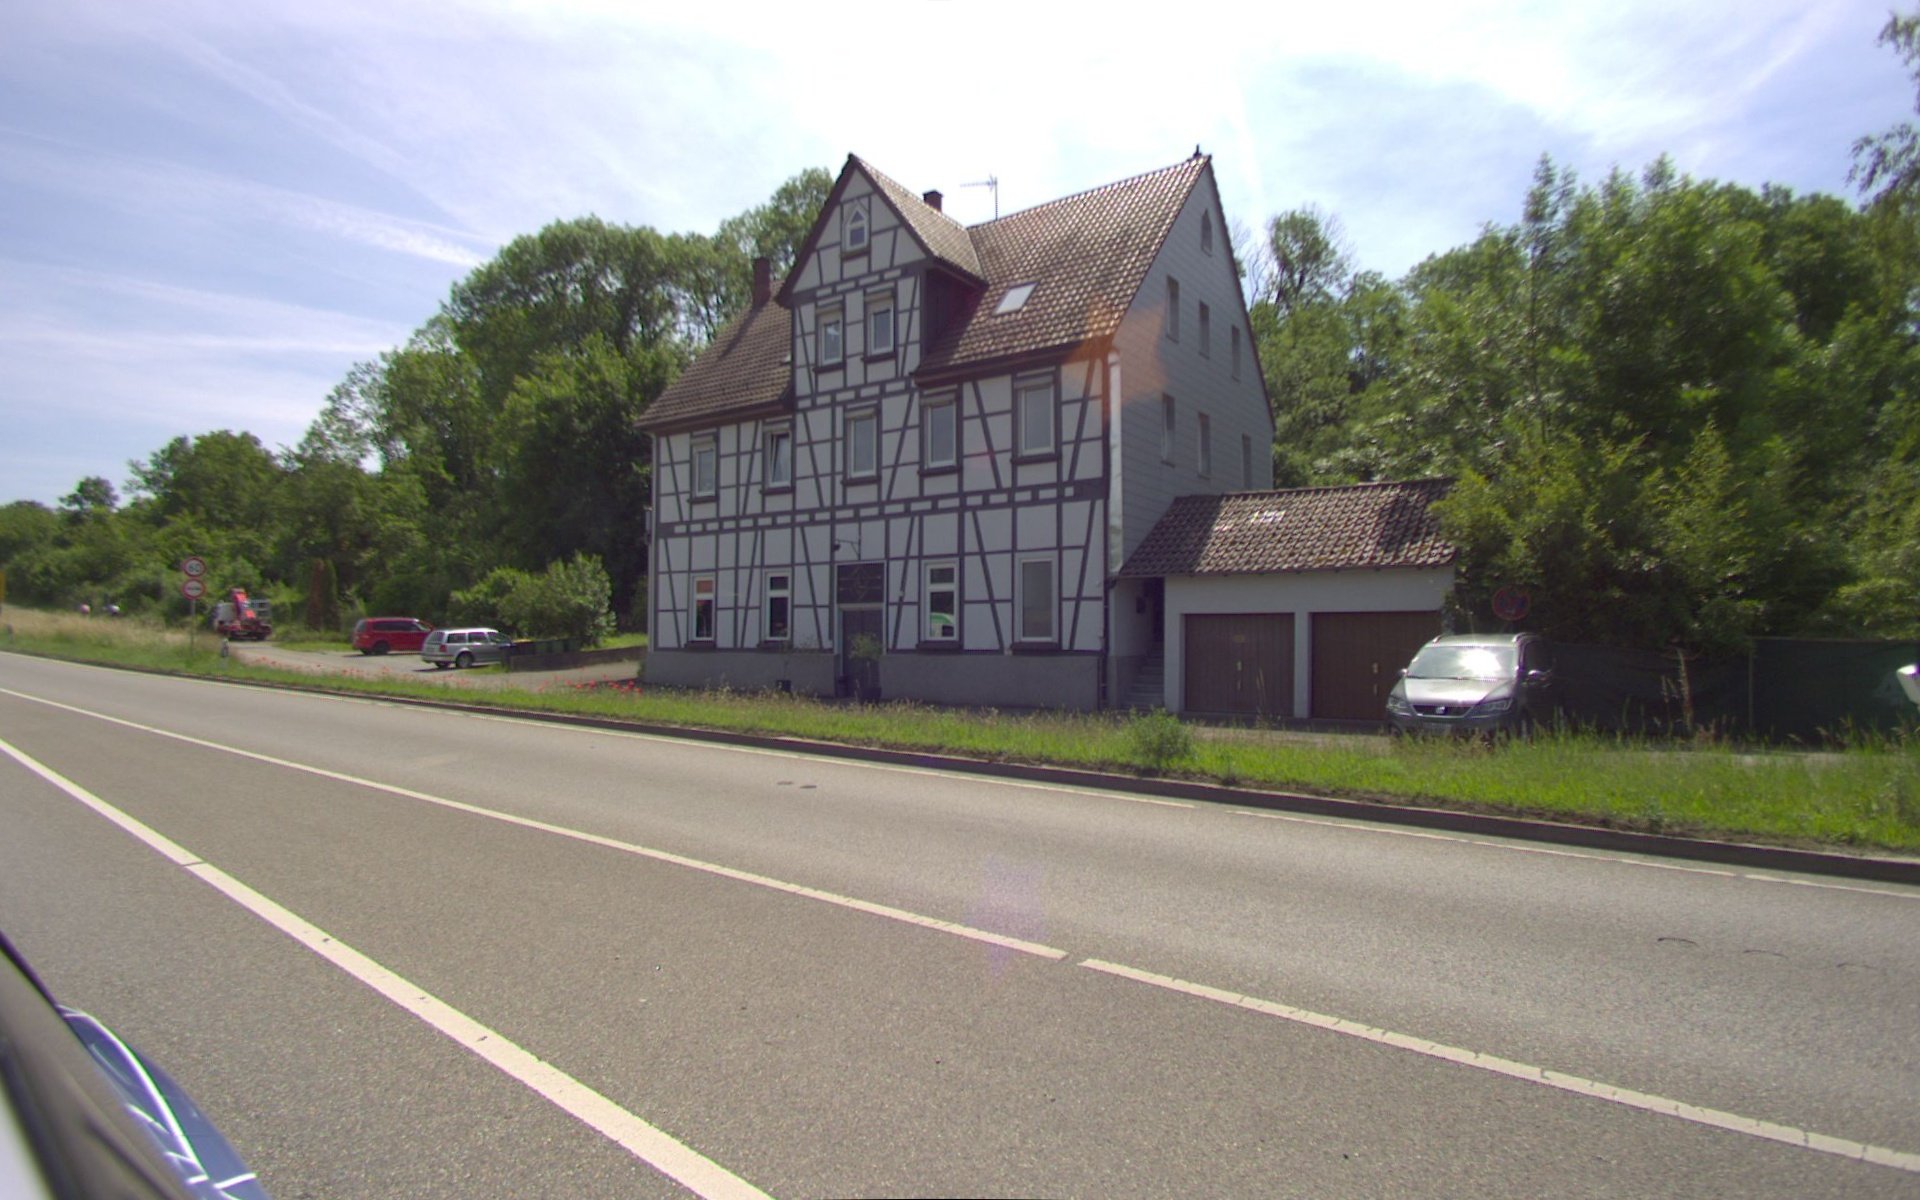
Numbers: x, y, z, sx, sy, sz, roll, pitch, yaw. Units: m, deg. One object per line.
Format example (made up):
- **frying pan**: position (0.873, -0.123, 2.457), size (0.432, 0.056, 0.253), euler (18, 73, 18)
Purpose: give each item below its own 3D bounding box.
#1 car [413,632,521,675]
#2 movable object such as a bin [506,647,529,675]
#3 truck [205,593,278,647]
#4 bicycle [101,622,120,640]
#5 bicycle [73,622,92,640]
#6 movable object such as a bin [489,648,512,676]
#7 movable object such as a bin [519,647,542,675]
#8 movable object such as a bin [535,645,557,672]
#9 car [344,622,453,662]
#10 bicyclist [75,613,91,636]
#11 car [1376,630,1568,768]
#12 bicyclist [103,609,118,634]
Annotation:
- **car**: position (-18.686, 2.006, 38.462), size (1.606, 1.476, 3.348), euler (-1, -1, 34)
- **movable object such as a bin**: position (-16.297, 2.231, 37.286), size (0.653, 0.977, 0.499), euler (0, 0, 33)
- **truck**: position (-41.931, 1.146, 58.967), size (6.771, 2.986, 2.005), euler (0, 0, 42)
- **bicycle**: position (-59.246, 2.152, 70.576), size (2.105, 1.189, 0.740), euler (0, 0, 43)
- **bicycle**: position (-62.588, 2.178, 72.193), size (2.104, 1.221, 0.741), euler (0, 0, 41)
- **movable object such as a bin**: position (-16.726, 2.249, 36.836), size (0.653, 0.943, 0.499), euler (0, 0, 33)
- **movable object such as a bin**: position (-16.043, 2.266, 37.799), size (0.653, 0.978, 0.499), euler (0, 0, 33)
- **movable object such as a bin**: position (-15.679, 2.221, 38.309), size (0.653, 0.984, 0.499), euler (0, 0, 33)
- **car**: position (-25.428, 1.866, 45.924), size (1.832, 1.631, 3.985), euler (-1, -1, 41)
- **bicyclist**: position (-62.583, 1.743, 72.182), size (0.935, 1.607, 0.740), euler (-1, 0, 41)
- **car**: position (8.019, 1.392, 15.610), size (1.858, 1.733, 4.621), euler (-4, -3, 36)
- **bicyclist**: position (-59.250, 1.467, 70.579), size (0.936, 1.727, 0.740), euler (-1, 0, 43)
